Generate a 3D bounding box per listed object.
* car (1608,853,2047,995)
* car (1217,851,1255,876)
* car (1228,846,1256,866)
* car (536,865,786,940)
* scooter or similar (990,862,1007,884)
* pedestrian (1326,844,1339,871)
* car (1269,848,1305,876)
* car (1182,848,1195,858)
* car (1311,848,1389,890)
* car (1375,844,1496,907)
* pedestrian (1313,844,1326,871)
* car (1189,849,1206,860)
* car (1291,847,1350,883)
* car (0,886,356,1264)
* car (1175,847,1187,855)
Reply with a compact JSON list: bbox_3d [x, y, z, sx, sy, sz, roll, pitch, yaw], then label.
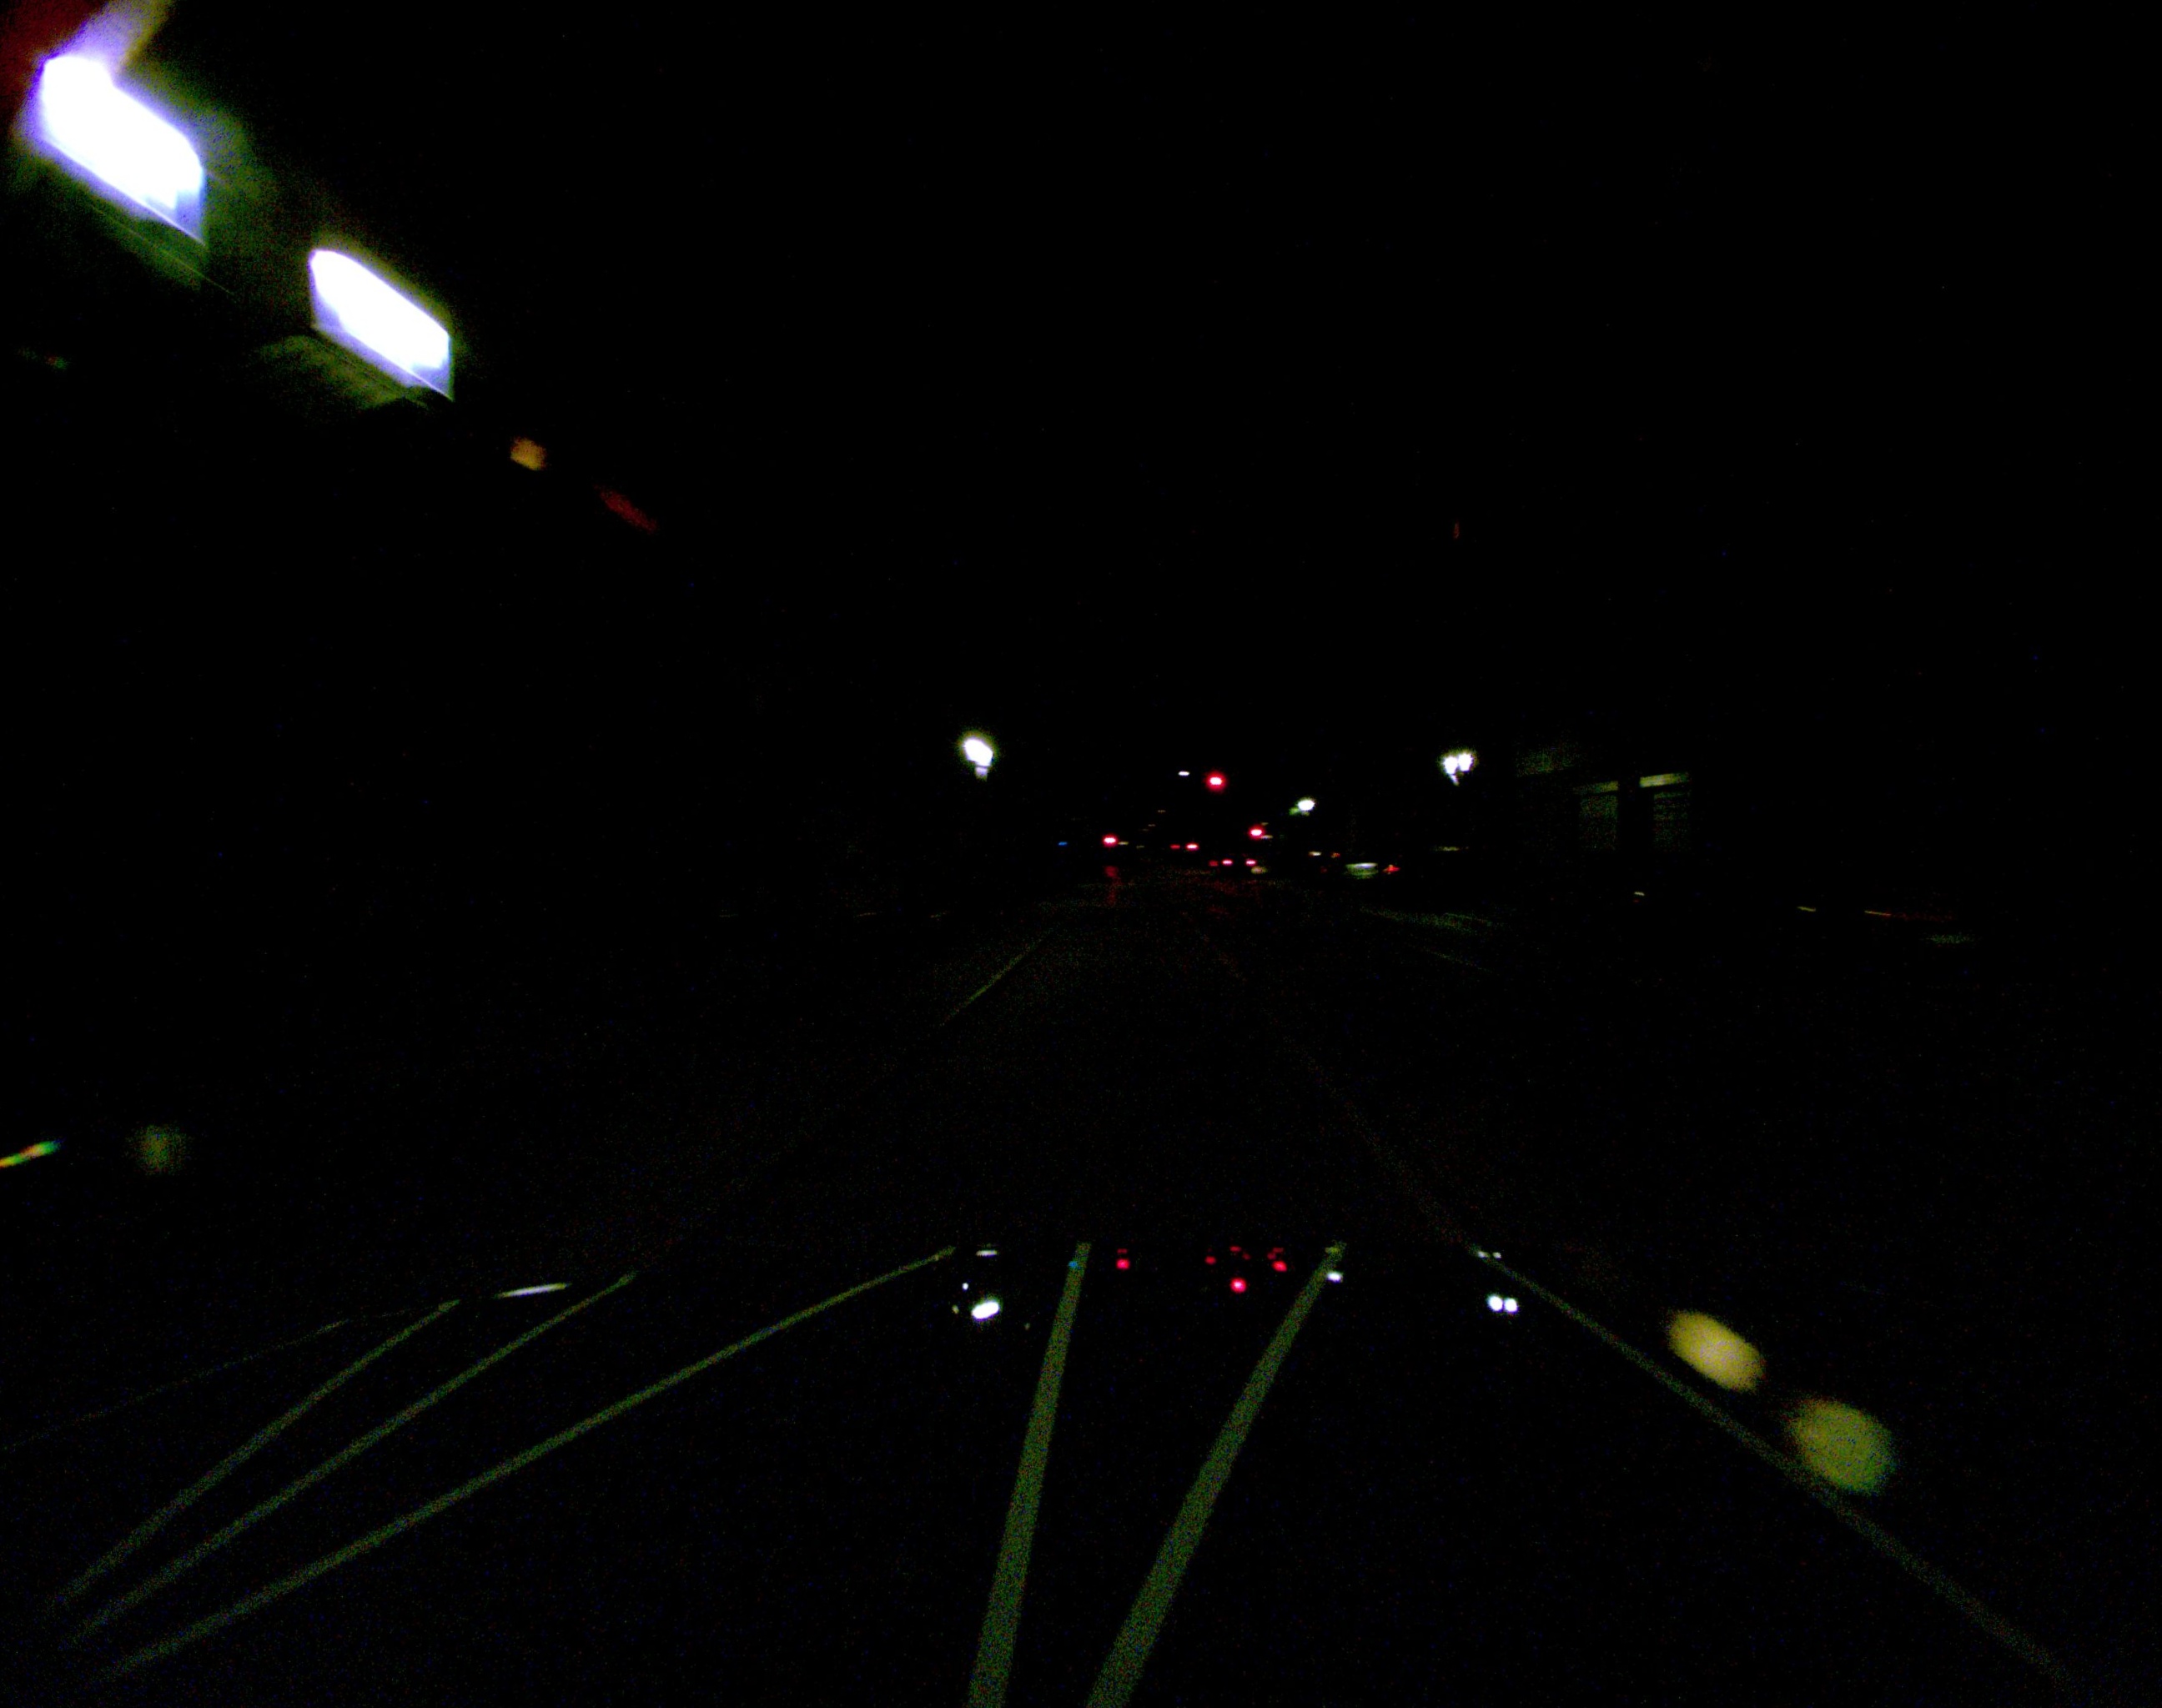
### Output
[{"bbox_3d":[9.181,0.735,9.961,1.788,1.407,4.127,-2,0,3],"label":"car"},{"bbox_3d":[9.148,0.516,45.110,1.719,1.421,4.001,1,0,5],"label":"car"},{"bbox_3d":[13.957,0.122,65.938,1.890,1.587,4.025,-2,0,6],"label":"car"},{"bbox_3d":[-8.738,0.957,15.951,4.434,1.451,1.791,0,0,10],"label":"car"},{"bbox_3d":[-4.344,0.972,39.883,0.422,1.124,1.494,0,1,12],"label":"scooter or similar"},{"bbox_3d":[15.970,0.226,48.216,0.710,1.680,0.999,0,1,15],"label":"pedestrian"},{"bbox_3d":[12.223,0.437,45.282,1.595,1.482,3.701,-3,0,9],"label":"car"},{"bbox_3d":[16.000,-0.213,113.147,1.555,1.425,4.349,-3,0,4],"label":"car"},{"bbox_3d":[10.716,0.556,30.551,1.788,1.482,4.001,-3,0,3],"label":"car"},{"bbox_3d":[10.248,0.558,22.324,1.788,1.572,4.413,-3,0,6],"label":"car"},{"bbox_3d":[15.233,0.224,48.514,0.710,1.680,1.125,0,1,15],"label":"pedestrian"},{"bbox_3d":[16.119,0.115,105.211,1.865,1.425,4.403,-1,0,2],"label":"car"},{"bbox_3d":[11.334,0.479,36.191,1.788,1.482,4.331,-3,0,6],"label":"car"},{"bbox_3d":[-5.251,0.952,2.189,1.738,1.451,4.727,-1,0,0],"label":"car"},{"bbox_3d":[17.703,-0.490,134.932,1.633,1.455,3.514,0,1,0],"label":"car"}]
